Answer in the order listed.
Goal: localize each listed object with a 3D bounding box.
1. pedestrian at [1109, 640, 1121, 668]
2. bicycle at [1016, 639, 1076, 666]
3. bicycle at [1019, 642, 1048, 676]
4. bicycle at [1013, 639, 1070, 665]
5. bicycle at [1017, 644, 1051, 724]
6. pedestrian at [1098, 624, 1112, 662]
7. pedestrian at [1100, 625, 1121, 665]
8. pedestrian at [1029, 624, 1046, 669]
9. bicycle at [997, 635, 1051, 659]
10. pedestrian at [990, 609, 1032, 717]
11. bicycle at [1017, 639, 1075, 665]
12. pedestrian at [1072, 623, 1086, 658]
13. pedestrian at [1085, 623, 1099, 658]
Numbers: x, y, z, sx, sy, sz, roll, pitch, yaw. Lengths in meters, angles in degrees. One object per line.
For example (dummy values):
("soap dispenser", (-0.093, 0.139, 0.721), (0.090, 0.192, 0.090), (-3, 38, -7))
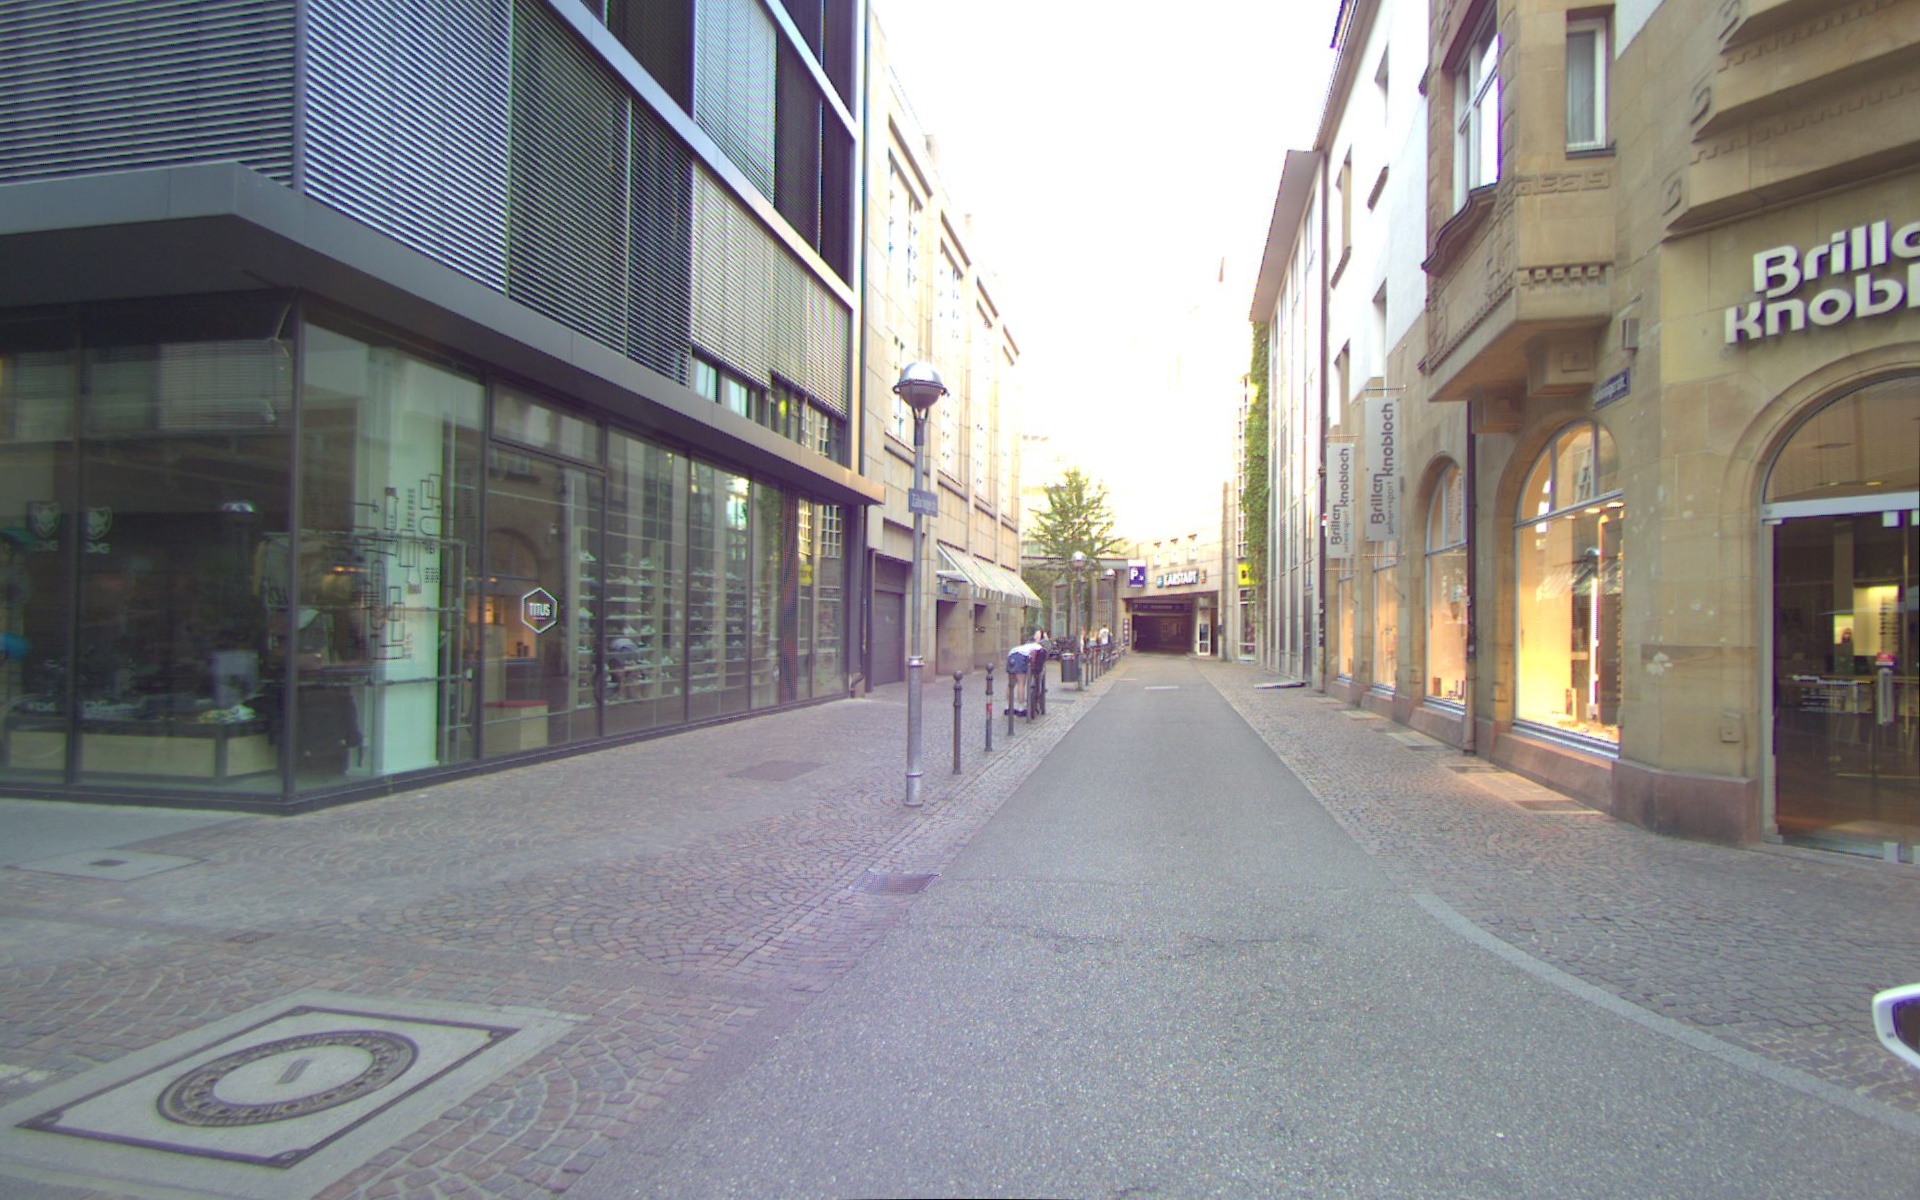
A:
("pedestrian", (6.794, 2.356, 43.913), (0.458, 1.183, 0.522), (1, -1, 13))
("bicycle", (4.005, 2.458, 46.873), (2.715, 1.216, 0.733), (1, -1, -7))
("bicycle", (2.512, 1.989, 34.175), (0.472, 1.095, 2.243), (0, -2, 18))
("bicycle", (4.009, 2.548, 49.408), (2.715, 1.216, 0.733), (1, -1, -7))
("bicycle", (1.277, 1.398, 17.079), (0.404, 1.248, 1.829), (0, -1, 9))
("pedestrian", (7.004, 2.073, 48.492), (0.619, 1.780, 0.799), (1, -1, 13))
("pedestrian", (6.868, 2.048, 45.709), (0.849, 1.780, 0.799), (1, -1, 13))
("pedestrian", (3.111, 1.853, 40.396), (0.645, 1.787, 0.616), (0, -1, -2))
("bicycle", (3.288, 2.444, 51.877), (2.715, 1.216, 0.733), (1, -1, -7))
("pedestrian", (0.899, 1.080, 17.463), (0.598, 1.814, 0.911), (0, -1, 10))
("bicycle", (4.134, 2.511, 48.548), (2.715, 1.216, 0.733), (1, -1, -7))
("pedestrian", (5.672, 1.915, 47.833), (0.580, 1.625, 0.666), (1, -1, 13))
("pedestrian", (6.264, 1.924, 47.681), (0.574, 1.625, 0.628), (1, -1, 13))
